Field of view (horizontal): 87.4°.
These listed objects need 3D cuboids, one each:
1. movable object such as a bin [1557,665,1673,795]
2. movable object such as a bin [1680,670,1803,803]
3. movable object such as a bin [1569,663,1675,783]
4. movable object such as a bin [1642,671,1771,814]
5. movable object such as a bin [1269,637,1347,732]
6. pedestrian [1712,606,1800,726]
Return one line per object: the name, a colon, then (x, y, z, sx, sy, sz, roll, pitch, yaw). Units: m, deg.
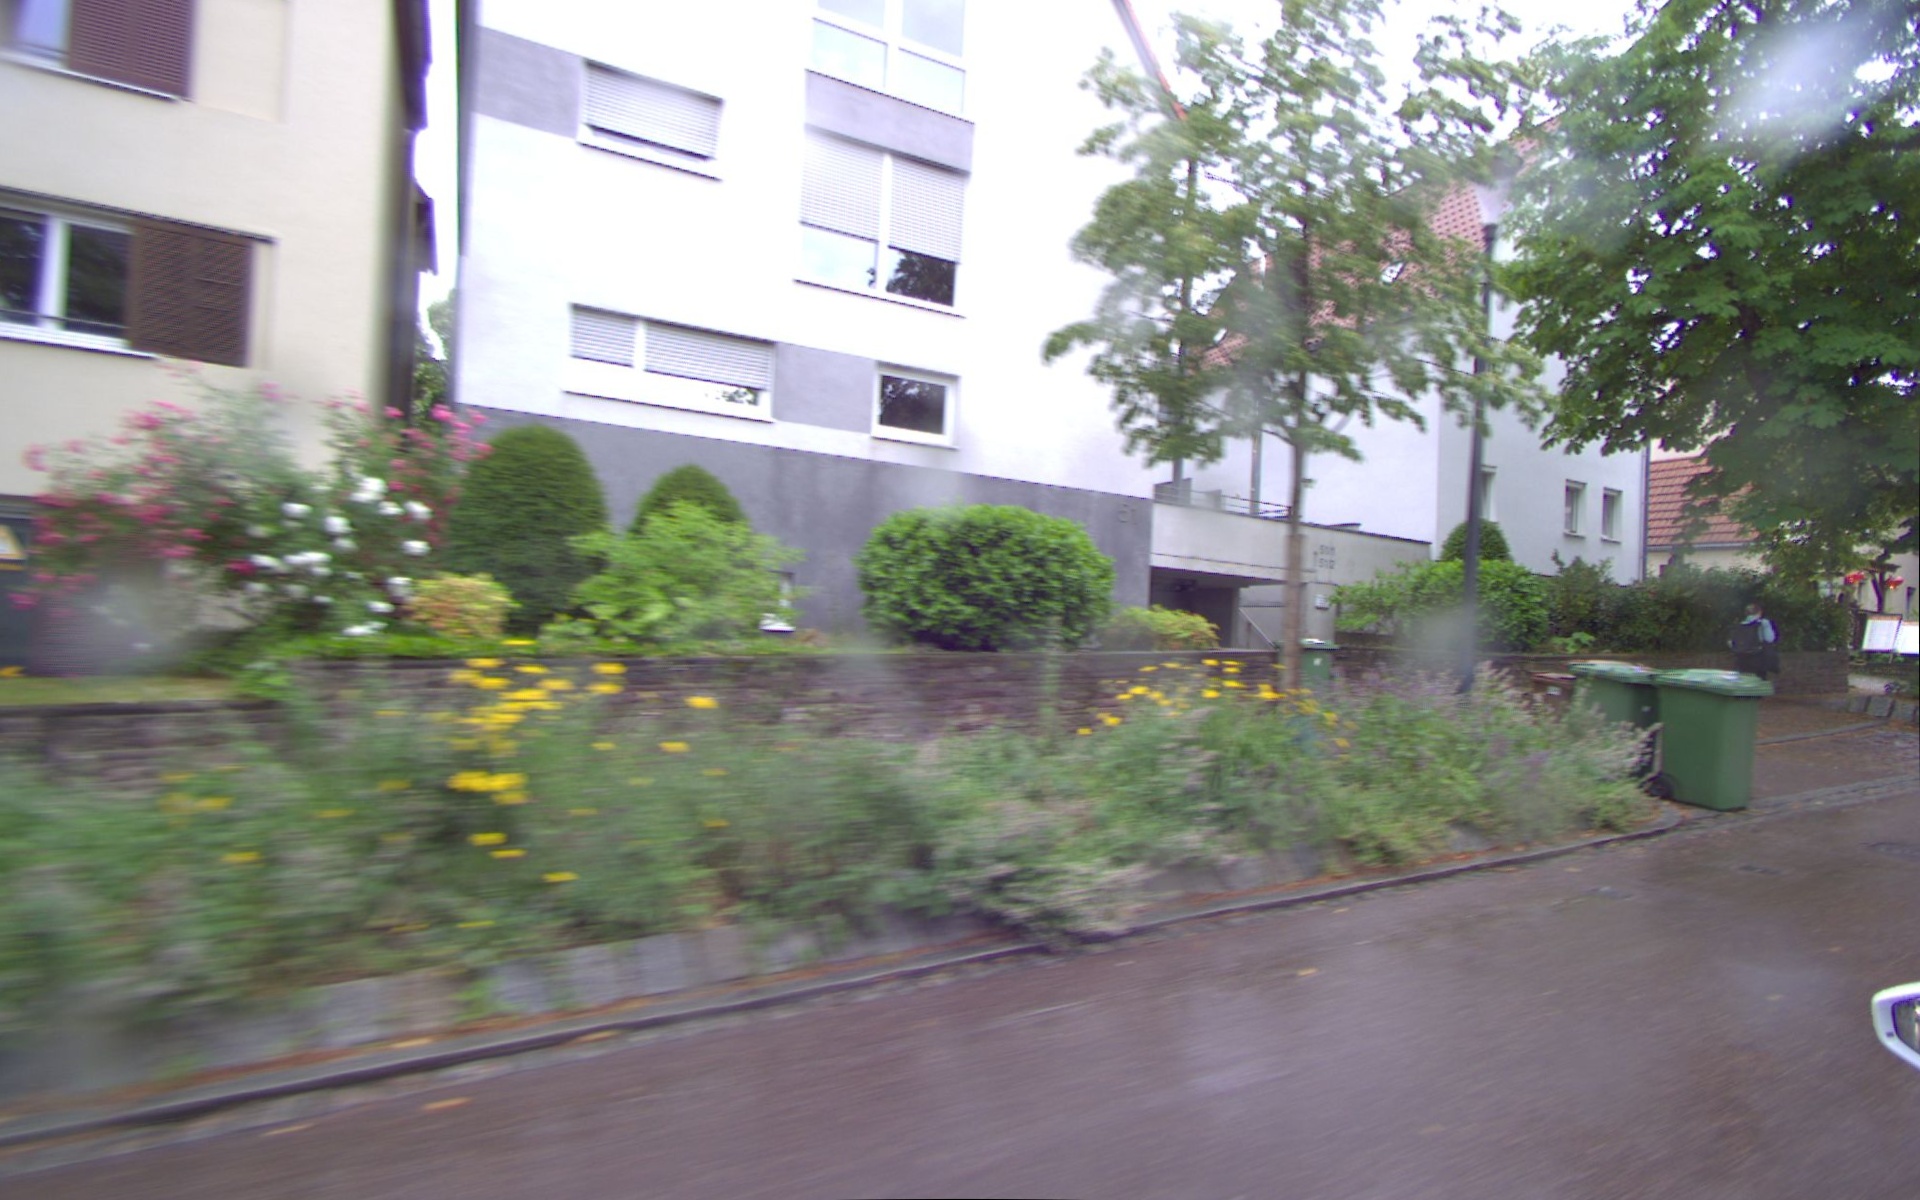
movable object such as a bin: (5.919, 1.148, 9.091, 0.588, 1.088, 0.661, 2, -1, -26)
movable object such as a bin: (6.882, 1.179, 8.855, 0.588, 1.081, 0.661, 2, -1, -26)
movable object such as a bin: (6.466, 1.181, 9.824, 0.588, 1.088, 0.661, 2, -1, -26)
movable object such as a bin: (6.193, 1.156, 8.347, 0.588, 1.088, 0.661, 2, -1, -26)
movable object such as a bin: (4.454, 1.068, 12.860, 0.651, 1.148, 0.660, 1, 0, -28)
pedestrian: (11.132, 0.899, 14.049, 0.921, 1.615, 0.647, 1, 0, -30)
